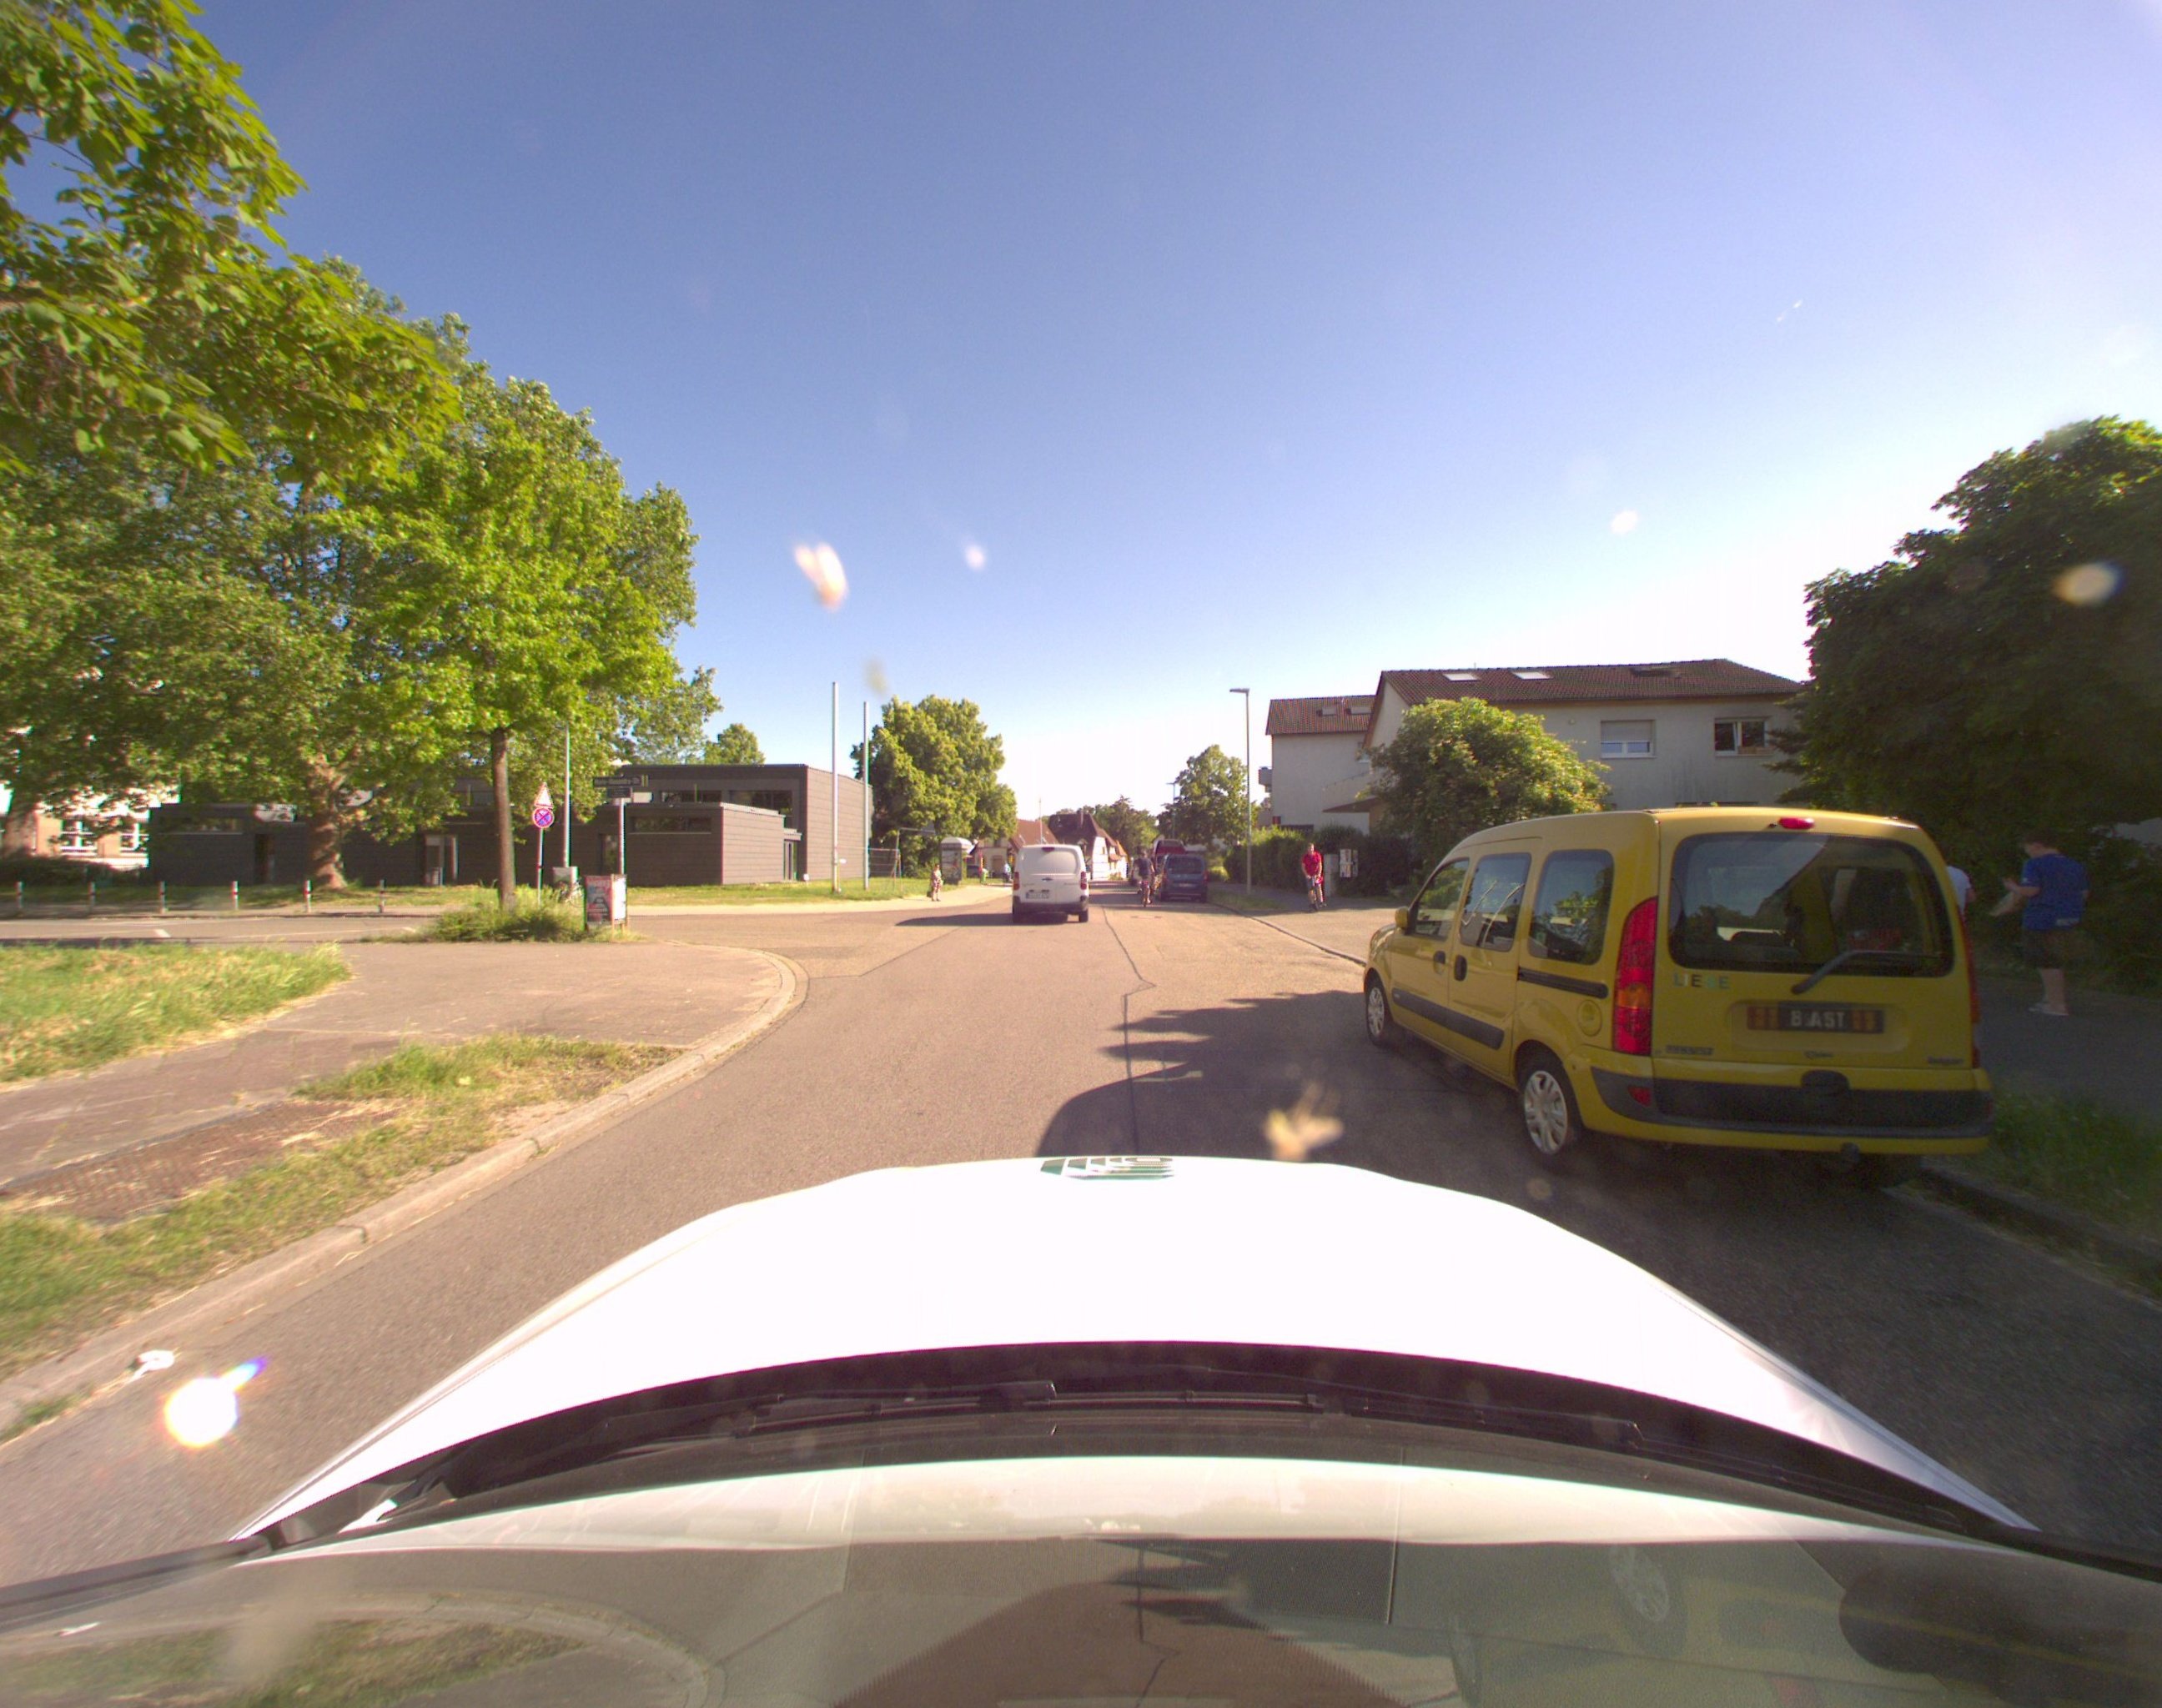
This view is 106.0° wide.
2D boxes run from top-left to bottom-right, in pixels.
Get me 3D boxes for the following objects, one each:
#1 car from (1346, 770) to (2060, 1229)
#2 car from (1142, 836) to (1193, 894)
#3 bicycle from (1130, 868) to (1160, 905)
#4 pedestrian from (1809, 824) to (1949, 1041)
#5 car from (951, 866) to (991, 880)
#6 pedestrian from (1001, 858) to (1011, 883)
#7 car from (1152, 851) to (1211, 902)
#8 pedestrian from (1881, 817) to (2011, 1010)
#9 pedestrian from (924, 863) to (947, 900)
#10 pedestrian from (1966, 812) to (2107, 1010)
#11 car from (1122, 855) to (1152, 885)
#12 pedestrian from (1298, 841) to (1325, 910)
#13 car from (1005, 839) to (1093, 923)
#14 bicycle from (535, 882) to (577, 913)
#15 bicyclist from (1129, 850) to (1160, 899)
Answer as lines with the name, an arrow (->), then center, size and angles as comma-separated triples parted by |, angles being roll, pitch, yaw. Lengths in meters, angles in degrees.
car -> 3.151, 0.599, 5.293 | 1.717, 1.837, 4.002 | 0, -1, 3
car -> 4.059, 0.548, 38.833 | 1.860, 2.562, 4.767 | 2, -1, 0
bicycle -> 2.079, 1.044, 26.692 | 0.784, 1.138, 2.279 | 0, 0, -1
pedestrian -> 6.273, 0.591, 6.426 | 0.564, 1.637, 0.547 | 0, 0, 7
car -> -11.904, 2.064, 87.967 | 3.944, 1.429, 1.724 | 0, -1, 19
pedestrian -> -5.383, 1.189, 58.423 | 0.619, 1.805, 0.640 | 0, -2, 0
car -> 3.874, 0.869, 31.895 | 1.798, 1.785, 3.999 | 2, -1, 0
pedestrian -> 7.646, 0.509, 7.219 | 0.564, 1.637, 0.547 | 0, 0, 7
pedestrian -> -5.744, 1.083, 32.199 | 0.505, 1.446, 0.643 | 2, -1, 34
pedestrian -> 8.248, 0.472, 7.055 | 0.564, 1.637, 0.547 | 0, 0, 7
car -> 3.982, 1.153, 58.251 | 1.798, 2.069, 3.999 | 2, -1, 0
pedestrian -> 6.299, 0.589, 22.244 | 0.482, 1.831, 0.486 | -3, 0, 0
car -> -0.779, 0.625, 20.438 | 1.988, 1.882, 4.285 | 0, 0, -2
bicycle -> -16.515, 1.362, 25.614 | 1.025, 0.887, 0.434 | -2, 1, -43
bicyclist -> 2.073, 0.666, 26.671 | 0.903, 1.584, 0.966 | 0, -1, -1
